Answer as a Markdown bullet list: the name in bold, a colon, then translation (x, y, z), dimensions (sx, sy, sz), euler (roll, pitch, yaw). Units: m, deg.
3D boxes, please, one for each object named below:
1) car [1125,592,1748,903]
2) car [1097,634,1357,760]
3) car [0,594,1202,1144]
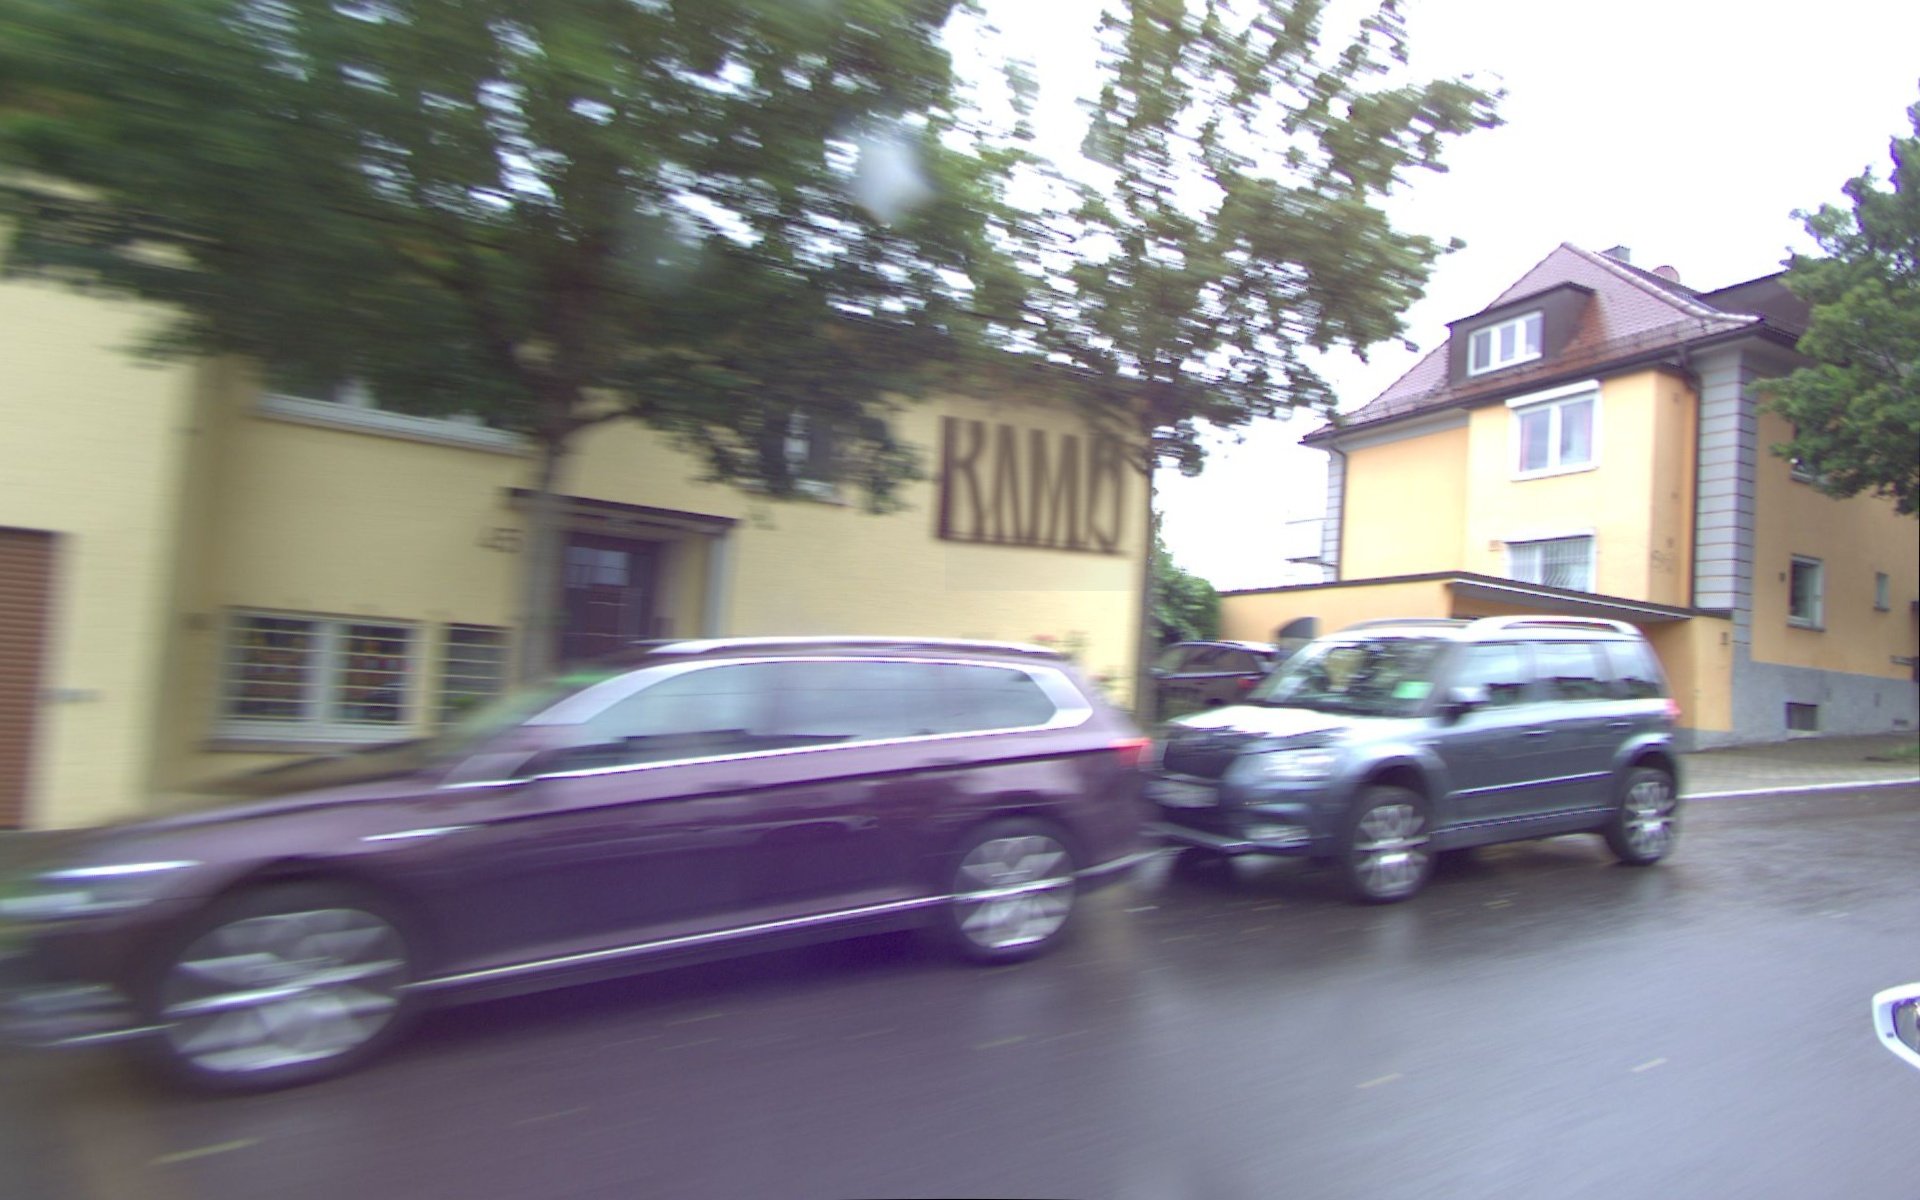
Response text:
- **car**: translation (3.358, 0.909, 7.069), dimensions (4.054, 1.655, 1.764), euler (2, -5, -25)
- **car**: translation (4.062, 1.423, 15.963), dimensions (1.838, 1.667, 4.042), euler (3, -2, -25)
- **car**: translation (-1.204, 0.870, 4.689), dimensions (4.548, 1.555, 1.761), euler (2, -3, -28)
